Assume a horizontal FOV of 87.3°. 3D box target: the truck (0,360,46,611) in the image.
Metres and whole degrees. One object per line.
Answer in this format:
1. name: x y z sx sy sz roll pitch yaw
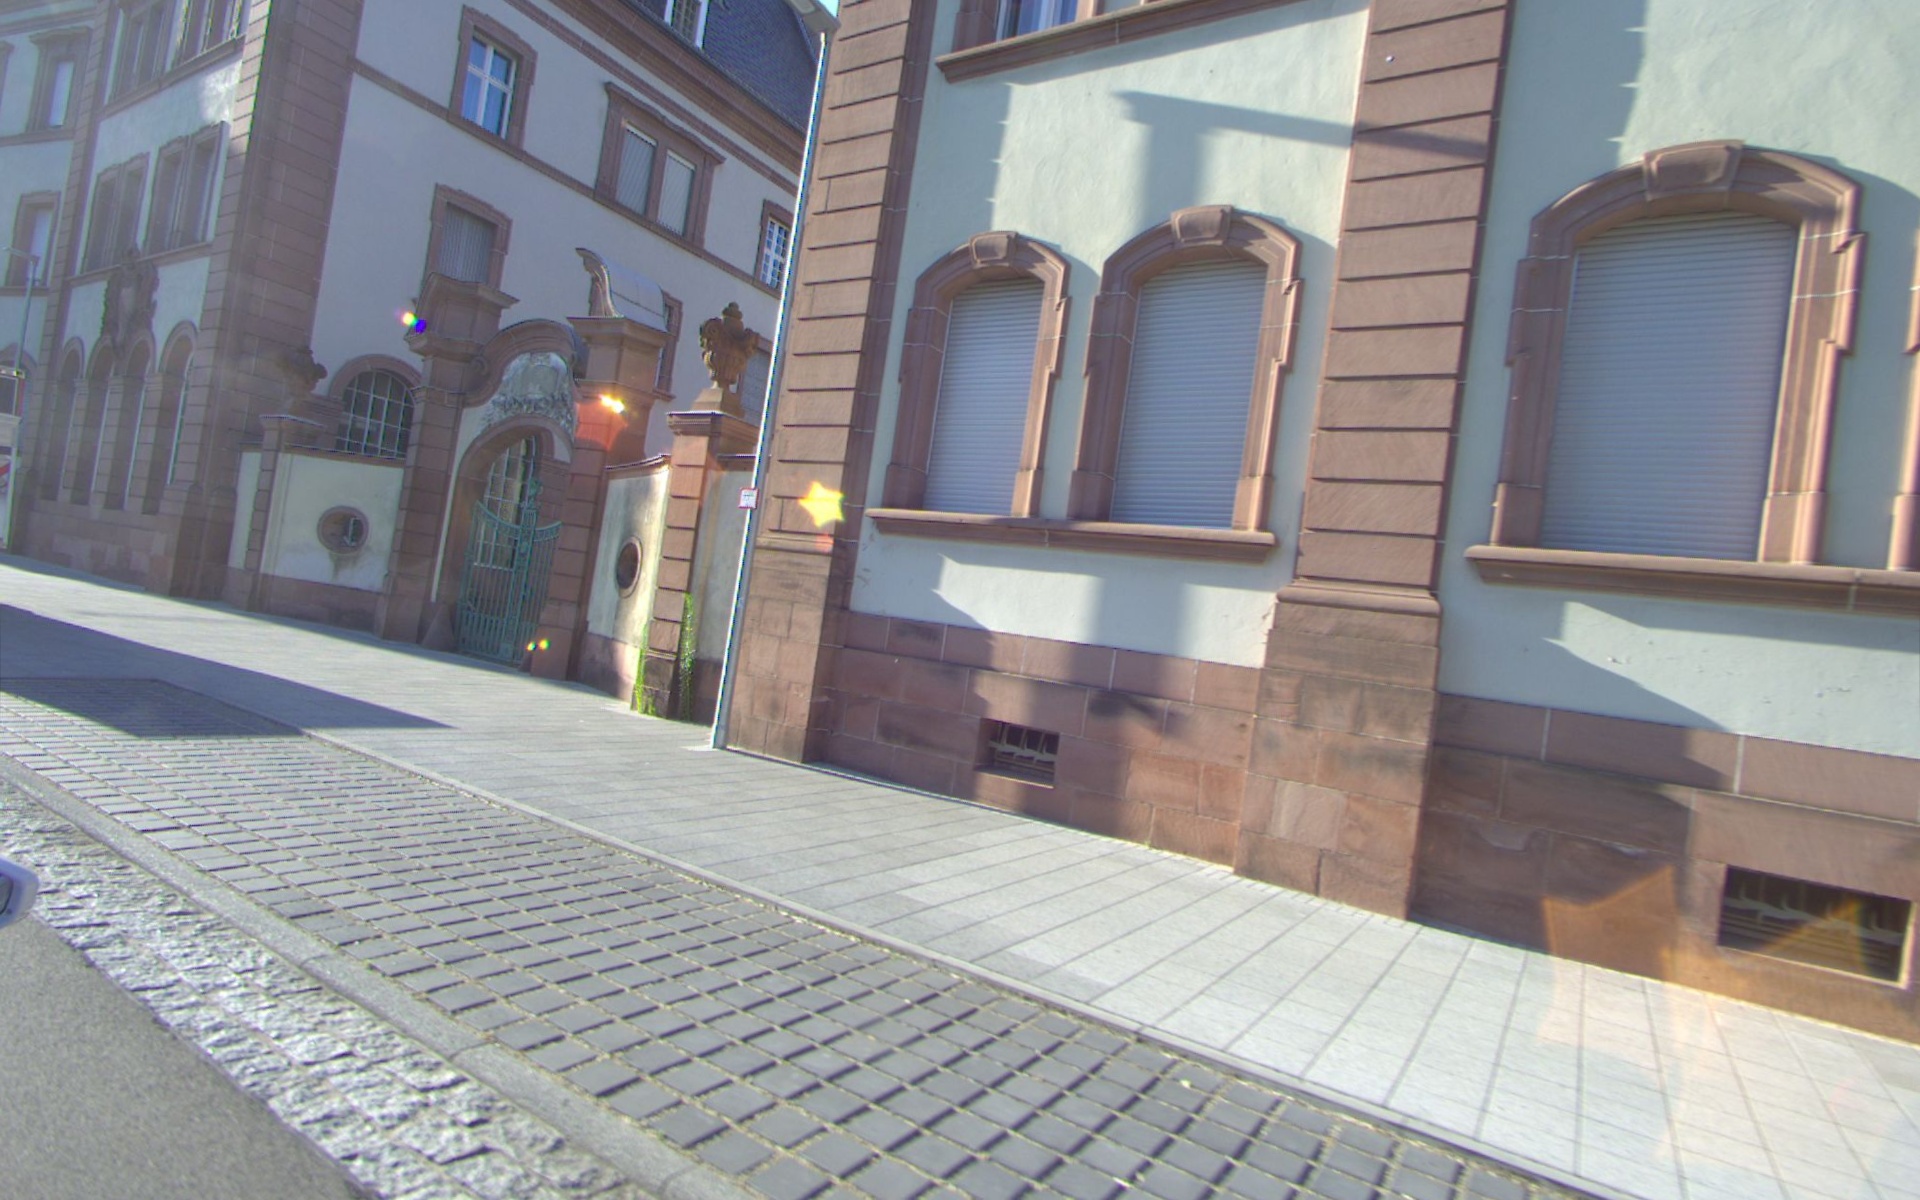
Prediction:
1. truck: -15.261 -1.845 13.443 5.984 3.159 2.628 7 0 30
